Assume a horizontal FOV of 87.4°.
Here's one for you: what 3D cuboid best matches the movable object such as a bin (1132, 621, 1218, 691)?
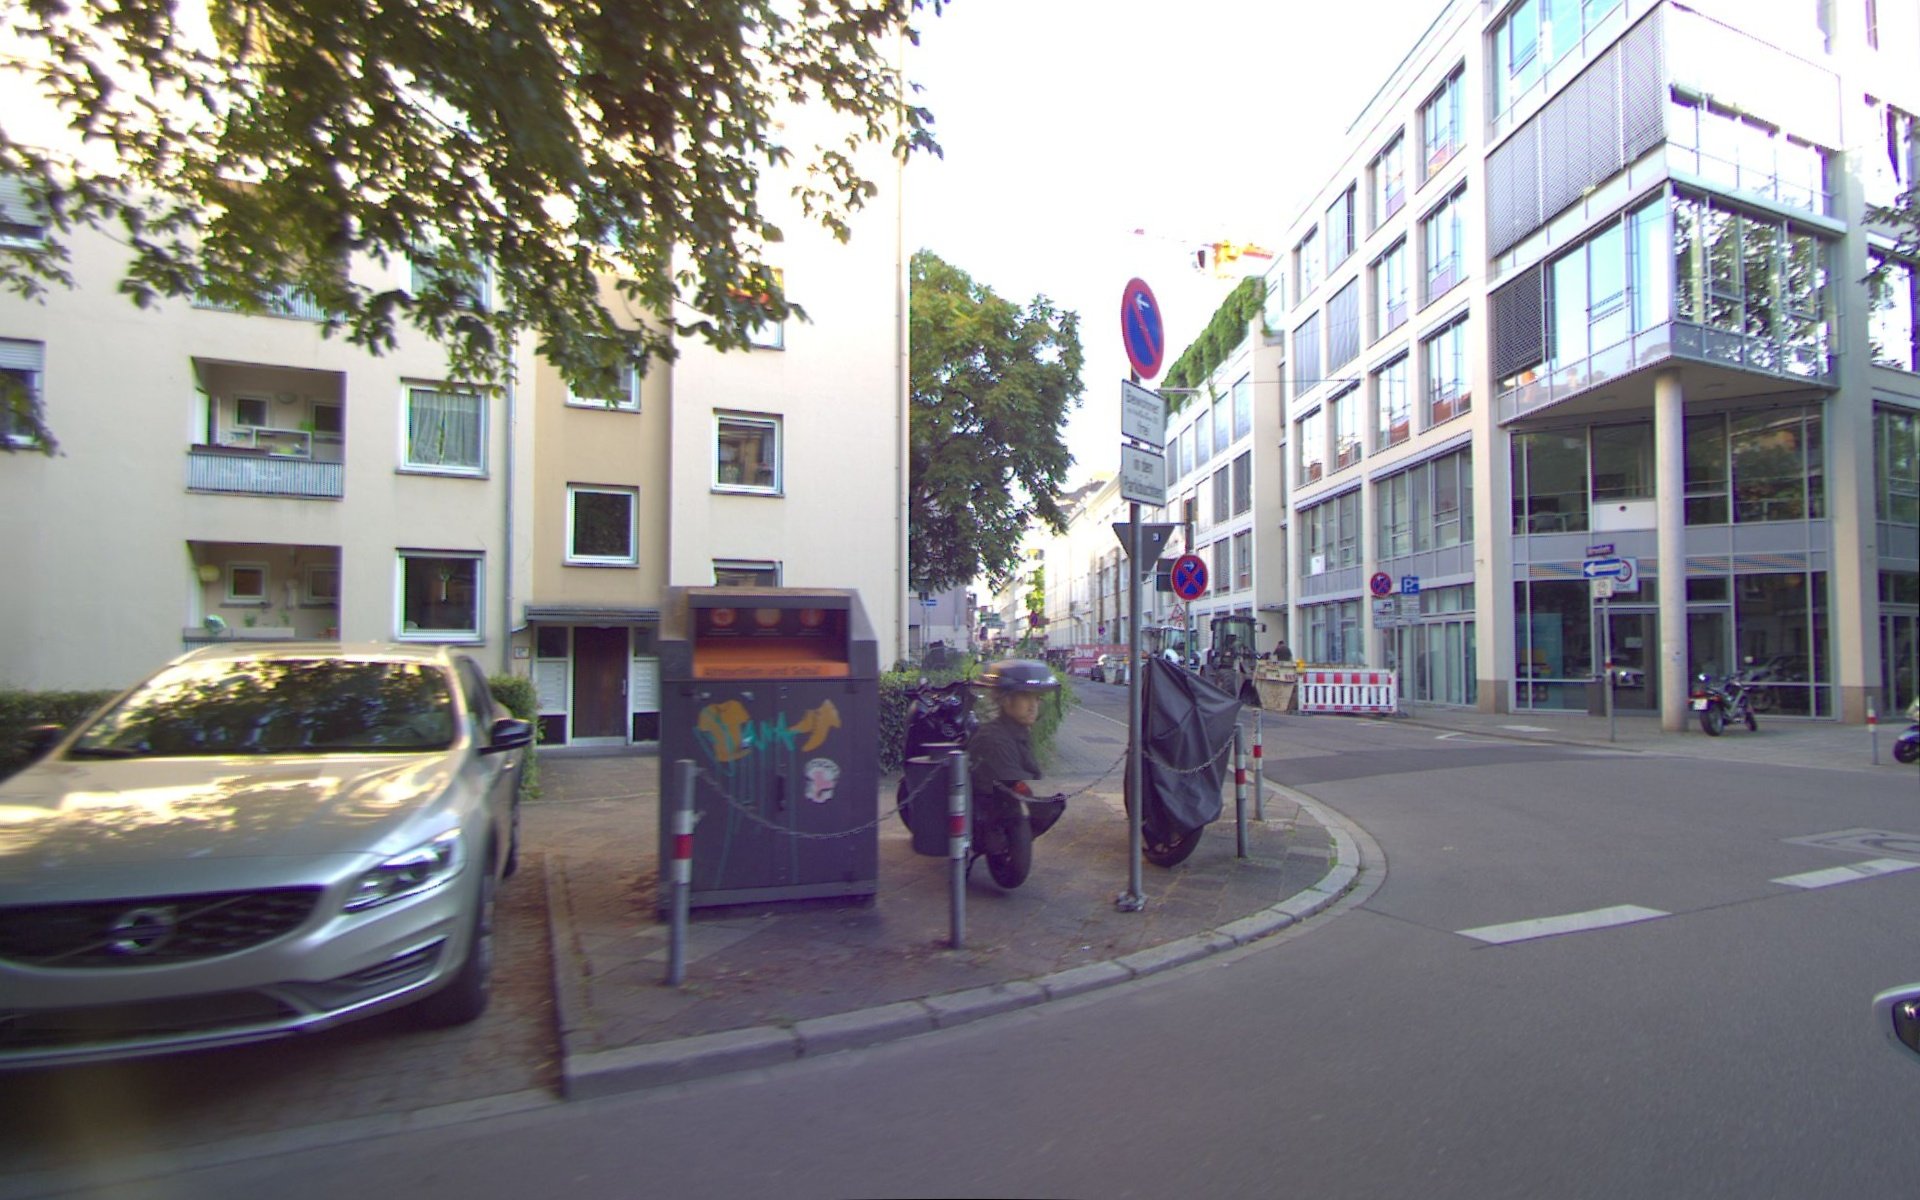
[{"bbox_3d":[8.298,2.169,39.209,2.240,2.573,4.097,0,-2,-3],"label":"movable object such as a bin"}]

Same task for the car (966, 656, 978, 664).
[{"bbox_3d":[1.775,8.757,147.571,1.512,1.149,3.120,1,-3,-5],"label":"car"}]

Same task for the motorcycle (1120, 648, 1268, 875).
[{"bbox_3d":[1.682,1.085,7.592,0.835,1.438,2.256,0,-3,7],"label":"motorcycle"}]

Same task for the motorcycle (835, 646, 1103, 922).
[{"bbox_3d":[-0.069,1.022,6.578,0.898,1.438,2.448,1,-3,-22],"label":"motorcycle"}]

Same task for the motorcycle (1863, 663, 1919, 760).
[{"bbox_3d":[14.092,1.529,13.761,2.312,1.298,1.067,-2,-3,26],"label":"motorcycle"}]

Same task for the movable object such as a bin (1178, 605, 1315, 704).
[{"bbox_3d":[8.543,1.624,30.623,2.240,2.727,5.647,0,-2,-3],"label":"movable object such as a bin"}]

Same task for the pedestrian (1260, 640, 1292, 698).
[{"bbox_3d":[10.511,2.284,33.452,0.872,1.875,0.877,0,-2,9],"label":"pedestrian"}]

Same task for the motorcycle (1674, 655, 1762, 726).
[{"bbox_3d":[13.802,1.617,18.260,2.284,1.187,0.553,1,-3,-34],"label":"motorcycle"}]

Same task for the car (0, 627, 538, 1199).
[{"bbox_3d":[-3.273,0.945,4.973,2.045,1.572,4.611,1,-2,-21],"label":"car"}]
